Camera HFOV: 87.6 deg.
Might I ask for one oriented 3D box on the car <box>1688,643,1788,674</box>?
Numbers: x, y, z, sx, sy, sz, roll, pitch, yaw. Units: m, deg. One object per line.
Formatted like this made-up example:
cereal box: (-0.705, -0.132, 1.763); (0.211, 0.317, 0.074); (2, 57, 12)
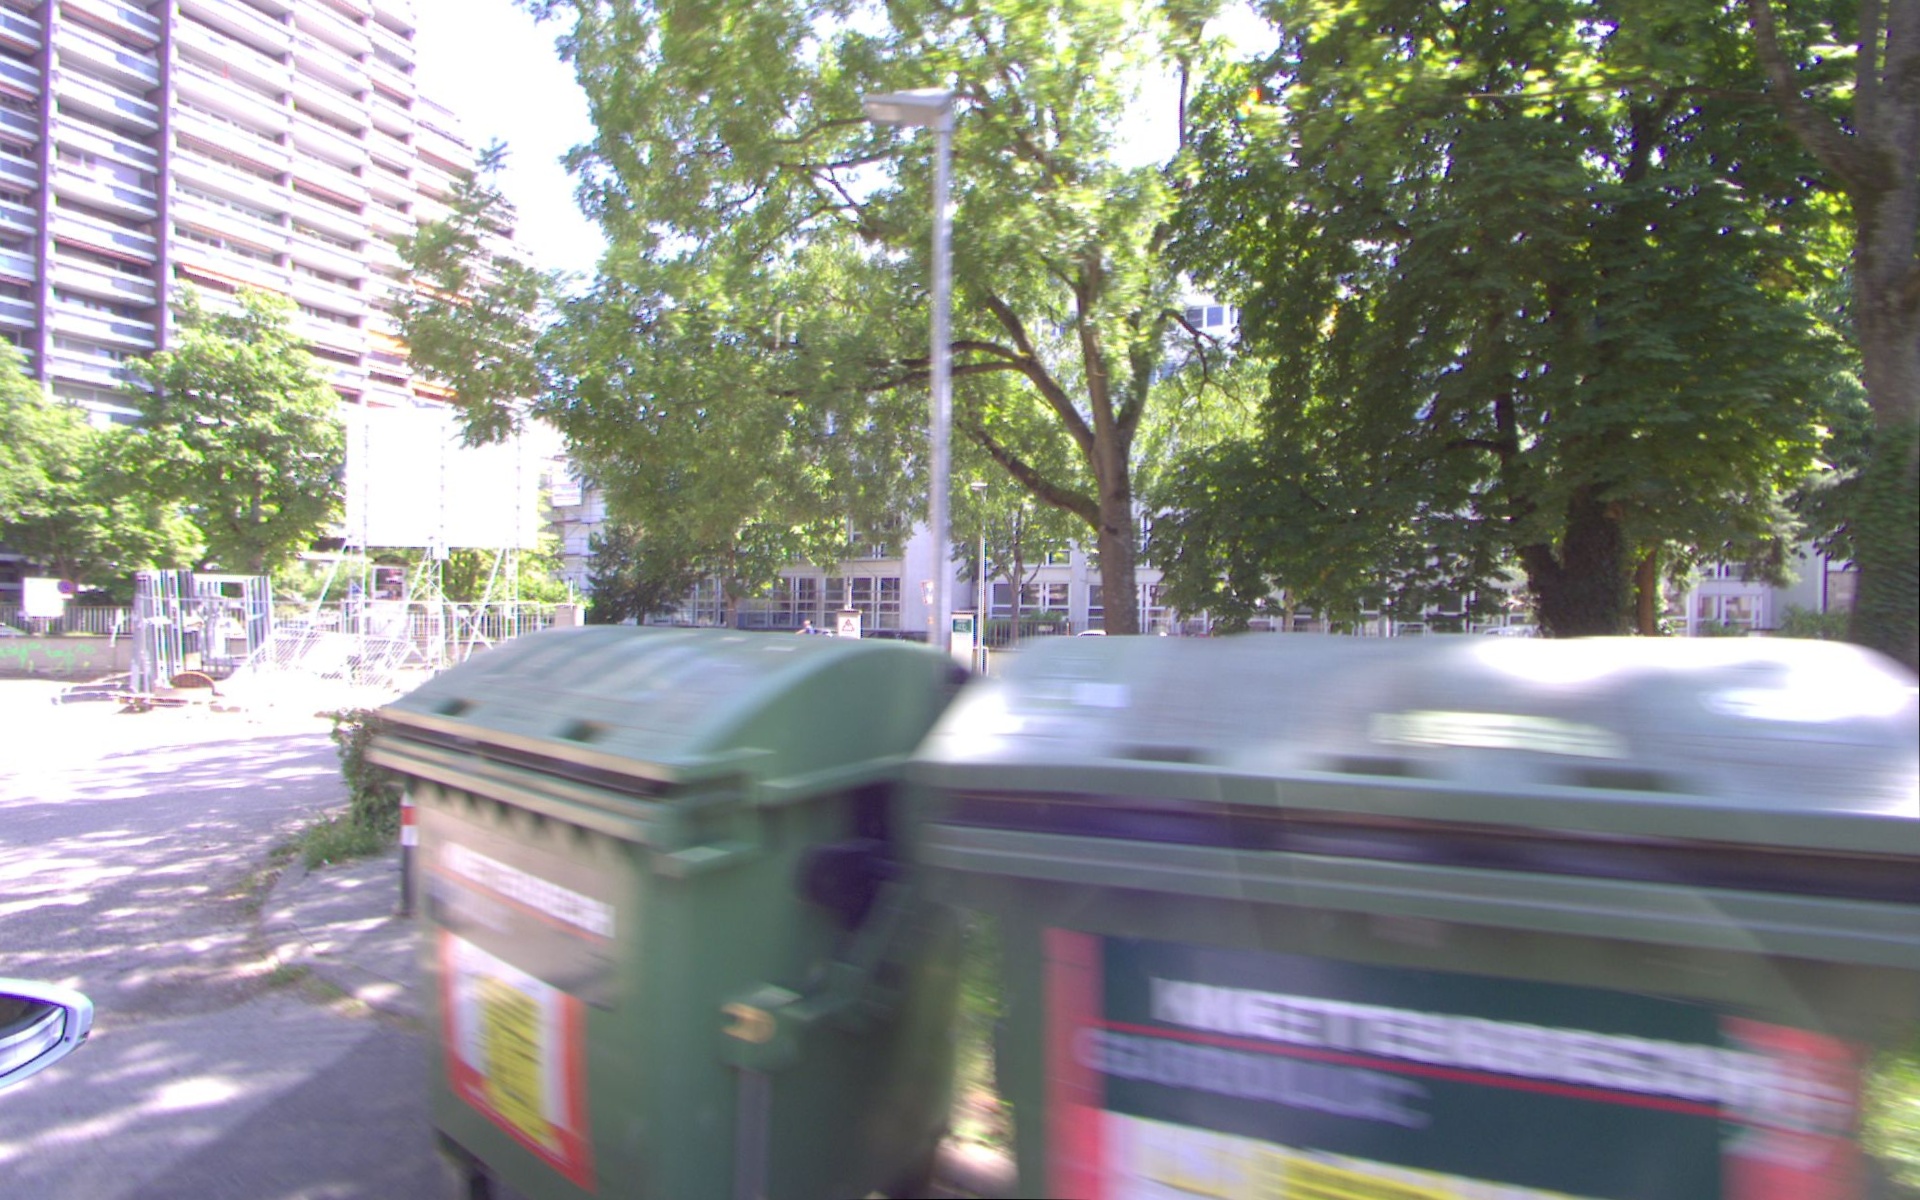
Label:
car: (35.450, 2.652, 45.704); (1.478, 1.307, 3.322); (1, -2, -32)

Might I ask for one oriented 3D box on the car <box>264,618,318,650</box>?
car: (-30.779, 1.536, 46.046); (1.621, 1.405, 3.645); (2, -2, -41)

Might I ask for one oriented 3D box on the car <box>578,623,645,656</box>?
car: (-16.132, 1.800, 46.312); (1.622, 1.482, 3.644); (2, -2, -42)

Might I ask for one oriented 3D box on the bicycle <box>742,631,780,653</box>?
bicycle: (-10.639, 2.242, 53.727); (0.770, 1.172, 2.378); (0, -2, 24)

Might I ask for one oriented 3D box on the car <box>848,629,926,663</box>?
car: (-3.404, 2.105, 46.241); (1.597, 1.463, 3.641); (2, -2, -45)

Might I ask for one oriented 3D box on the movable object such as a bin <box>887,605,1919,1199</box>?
movable object such as a bin: (0.716, 0.776, 1.696); (1.289, 1.488, 1.180); (0, -2, 23)

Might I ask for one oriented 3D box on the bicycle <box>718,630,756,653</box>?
bicycle: (-12.155, 2.249, 54.568); (0.770, 1.172, 2.378); (0, -2, 24)

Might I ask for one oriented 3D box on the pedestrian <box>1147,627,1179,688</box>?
pedestrian: (5.443, 1.555, 26.873); (0.718, 1.609, 0.741); (1, -3, 1)

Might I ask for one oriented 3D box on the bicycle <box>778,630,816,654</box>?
bicycle: (-8.586, 2.218, 52.889); (0.770, 1.203, 2.426); (0, -2, 24)

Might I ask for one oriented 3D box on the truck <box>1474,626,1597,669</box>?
truck: (26.015, 2.120, 45.345); (4.595, 1.856, 1.642); (-2, -3, 43)

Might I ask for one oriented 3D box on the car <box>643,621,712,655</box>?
car: (-13.097, 1.730, 46.343); (1.622, 1.482, 3.644); (2, -2, -42)

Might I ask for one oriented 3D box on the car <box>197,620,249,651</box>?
car: (-34.108, 1.621, 46.319); (1.621, 1.405, 3.645); (2, -2, -41)

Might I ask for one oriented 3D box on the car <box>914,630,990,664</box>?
car: (-0.411, 2.159, 46.427); (1.595, 1.455, 3.571); (2, -2, -41)

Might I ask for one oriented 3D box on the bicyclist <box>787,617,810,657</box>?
bicyclist: (-6.968, 1.582, 43.204); (0.883, 1.687, 0.859); (0, -1, -4)

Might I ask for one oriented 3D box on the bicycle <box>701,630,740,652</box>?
bicycle: (-13.133, 2.240, 55.007); (0.770, 1.172, 2.378); (0, -2, 24)

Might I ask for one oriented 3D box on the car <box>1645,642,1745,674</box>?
car: (32.768, 2.571, 44.712); (1.480, 1.307, 3.317); (2, -2, -36)

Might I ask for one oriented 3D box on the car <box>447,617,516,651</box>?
car: (-21.646, 1.527, 45.265); (3.638, 1.482, 1.624); (-1, -2, 43)

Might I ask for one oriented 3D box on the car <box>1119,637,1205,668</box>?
car: (9.262, 2.380, 46.053); (1.595, 1.297, 3.712); (2, -2, -41)

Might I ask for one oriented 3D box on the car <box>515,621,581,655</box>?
car: (-18.933, 1.733, 45.955); (1.622, 1.482, 3.644); (2, -2, -42)

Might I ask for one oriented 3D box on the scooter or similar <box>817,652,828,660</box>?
scooter or similar: (-5.858, 2.380, 42.535); (0.438, 0.363, 0.365); (0, -2, -4)

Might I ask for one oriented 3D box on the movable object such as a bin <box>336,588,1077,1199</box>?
movable object such as a bin: (-0.592, 0.759, 2.397); (1.317, 1.488, 1.174); (-1, -2, 40)

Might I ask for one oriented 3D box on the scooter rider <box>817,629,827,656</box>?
scooter rider: (-5.861, 1.806, 42.546); (0.409, 1.148, 0.359); (0, -1, -4)

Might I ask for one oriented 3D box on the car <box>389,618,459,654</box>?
car: (-23.506, 1.564, 43.881); (3.638, 1.482, 1.624); (-1, -2, 43)

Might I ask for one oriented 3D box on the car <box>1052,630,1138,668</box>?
car: (6.196, 2.208, 46.069); (3.704, 1.641, 1.599); (-1, -2, 43)

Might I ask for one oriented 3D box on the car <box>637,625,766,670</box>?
car: (-9.030, 1.634, 35.199); (4.063, 1.483, 1.766); (1, -1, 1)

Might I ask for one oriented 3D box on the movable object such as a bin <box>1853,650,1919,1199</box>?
movable object such as a bin: (2.024, 0.810, 1.065); (1.290, 1.488, 1.179); (0, -2, 25)

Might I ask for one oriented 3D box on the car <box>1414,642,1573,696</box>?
car: (16.019, 2.053, 30.193); (3.860, 1.483, 1.706); (1, -1, 1)

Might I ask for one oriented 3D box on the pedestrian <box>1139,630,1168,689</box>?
pedestrian: (5.437, 1.673, 28.141); (0.718, 1.609, 0.741); (1, -3, 3)

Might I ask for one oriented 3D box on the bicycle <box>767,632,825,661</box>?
bicycle: (-7.073, 2.002, 43.185); (2.393, 1.167, 0.786); (1, -1, -4)

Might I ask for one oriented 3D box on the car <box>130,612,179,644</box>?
car: (-37.433, 1.301, 46.486); (1.621, 1.405, 3.645); (2, -2, -41)

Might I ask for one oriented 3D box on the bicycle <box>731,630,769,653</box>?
bicycle: (-11.381, 2.240, 54.248); (0.770, 1.172, 2.378); (0, -2, 24)

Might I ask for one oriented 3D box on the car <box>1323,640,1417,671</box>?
car: (18.940, 2.544, 46.329); (3.701, 1.307, 1.600); (-1, -2, 41)

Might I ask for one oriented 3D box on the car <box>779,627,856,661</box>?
car: (-6.643, 2.023, 46.478); (3.637, 1.482, 1.631); (-1, -2, 43)

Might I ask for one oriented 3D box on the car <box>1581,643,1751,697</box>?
car: (21.044, 2.073, 29.960); (3.860, 1.483, 1.706); (1, -1, 1)

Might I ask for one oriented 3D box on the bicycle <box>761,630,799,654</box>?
bicycle: (-9.568, 2.216, 53.285); (0.770, 1.203, 2.426); (0, -2, 24)

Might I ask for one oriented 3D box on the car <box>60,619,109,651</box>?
car: (-39.839, 1.573, 45.577); (1.621, 1.405, 3.645); (2, -2, -41)

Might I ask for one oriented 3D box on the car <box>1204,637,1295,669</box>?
car: (13.105, 2.369, 45.482); (1.595, 1.322, 3.713); (2, -2, -40)
